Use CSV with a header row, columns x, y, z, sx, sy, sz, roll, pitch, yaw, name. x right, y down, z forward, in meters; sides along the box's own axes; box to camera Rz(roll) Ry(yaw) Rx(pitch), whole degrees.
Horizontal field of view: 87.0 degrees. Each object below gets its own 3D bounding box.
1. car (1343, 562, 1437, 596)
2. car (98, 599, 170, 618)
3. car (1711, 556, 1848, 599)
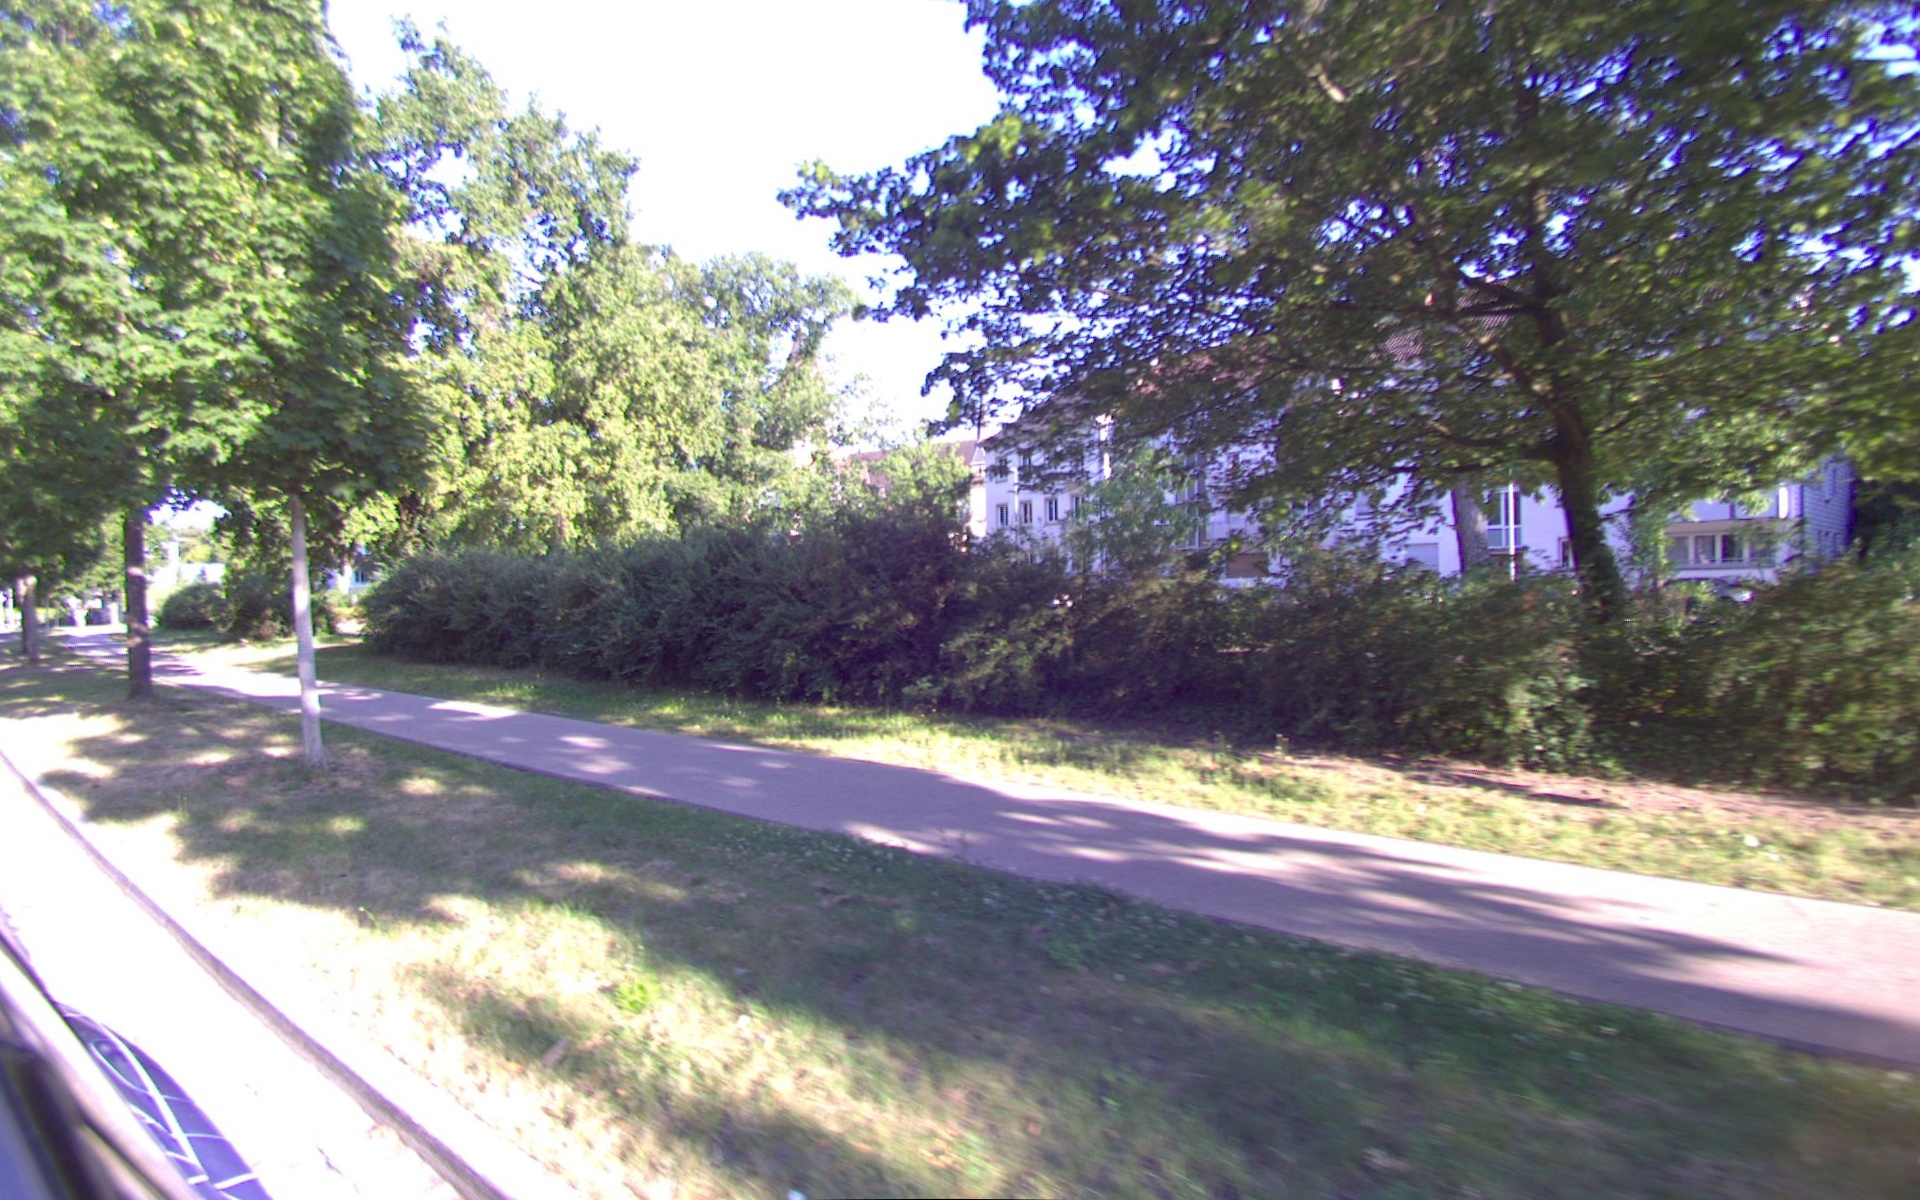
x,y,z,sx,sy,sz,roll,pitch,yaw,name
18.676,-0.896,44.024,1.614,1.327,3.381,-4,2,-42,car
-75.498,0.781,92.551,1.862,1.570,4.786,-1,1,32,car
27.505,-0.743,34.013,1.615,1.328,3.379,-4,3,-43,car
